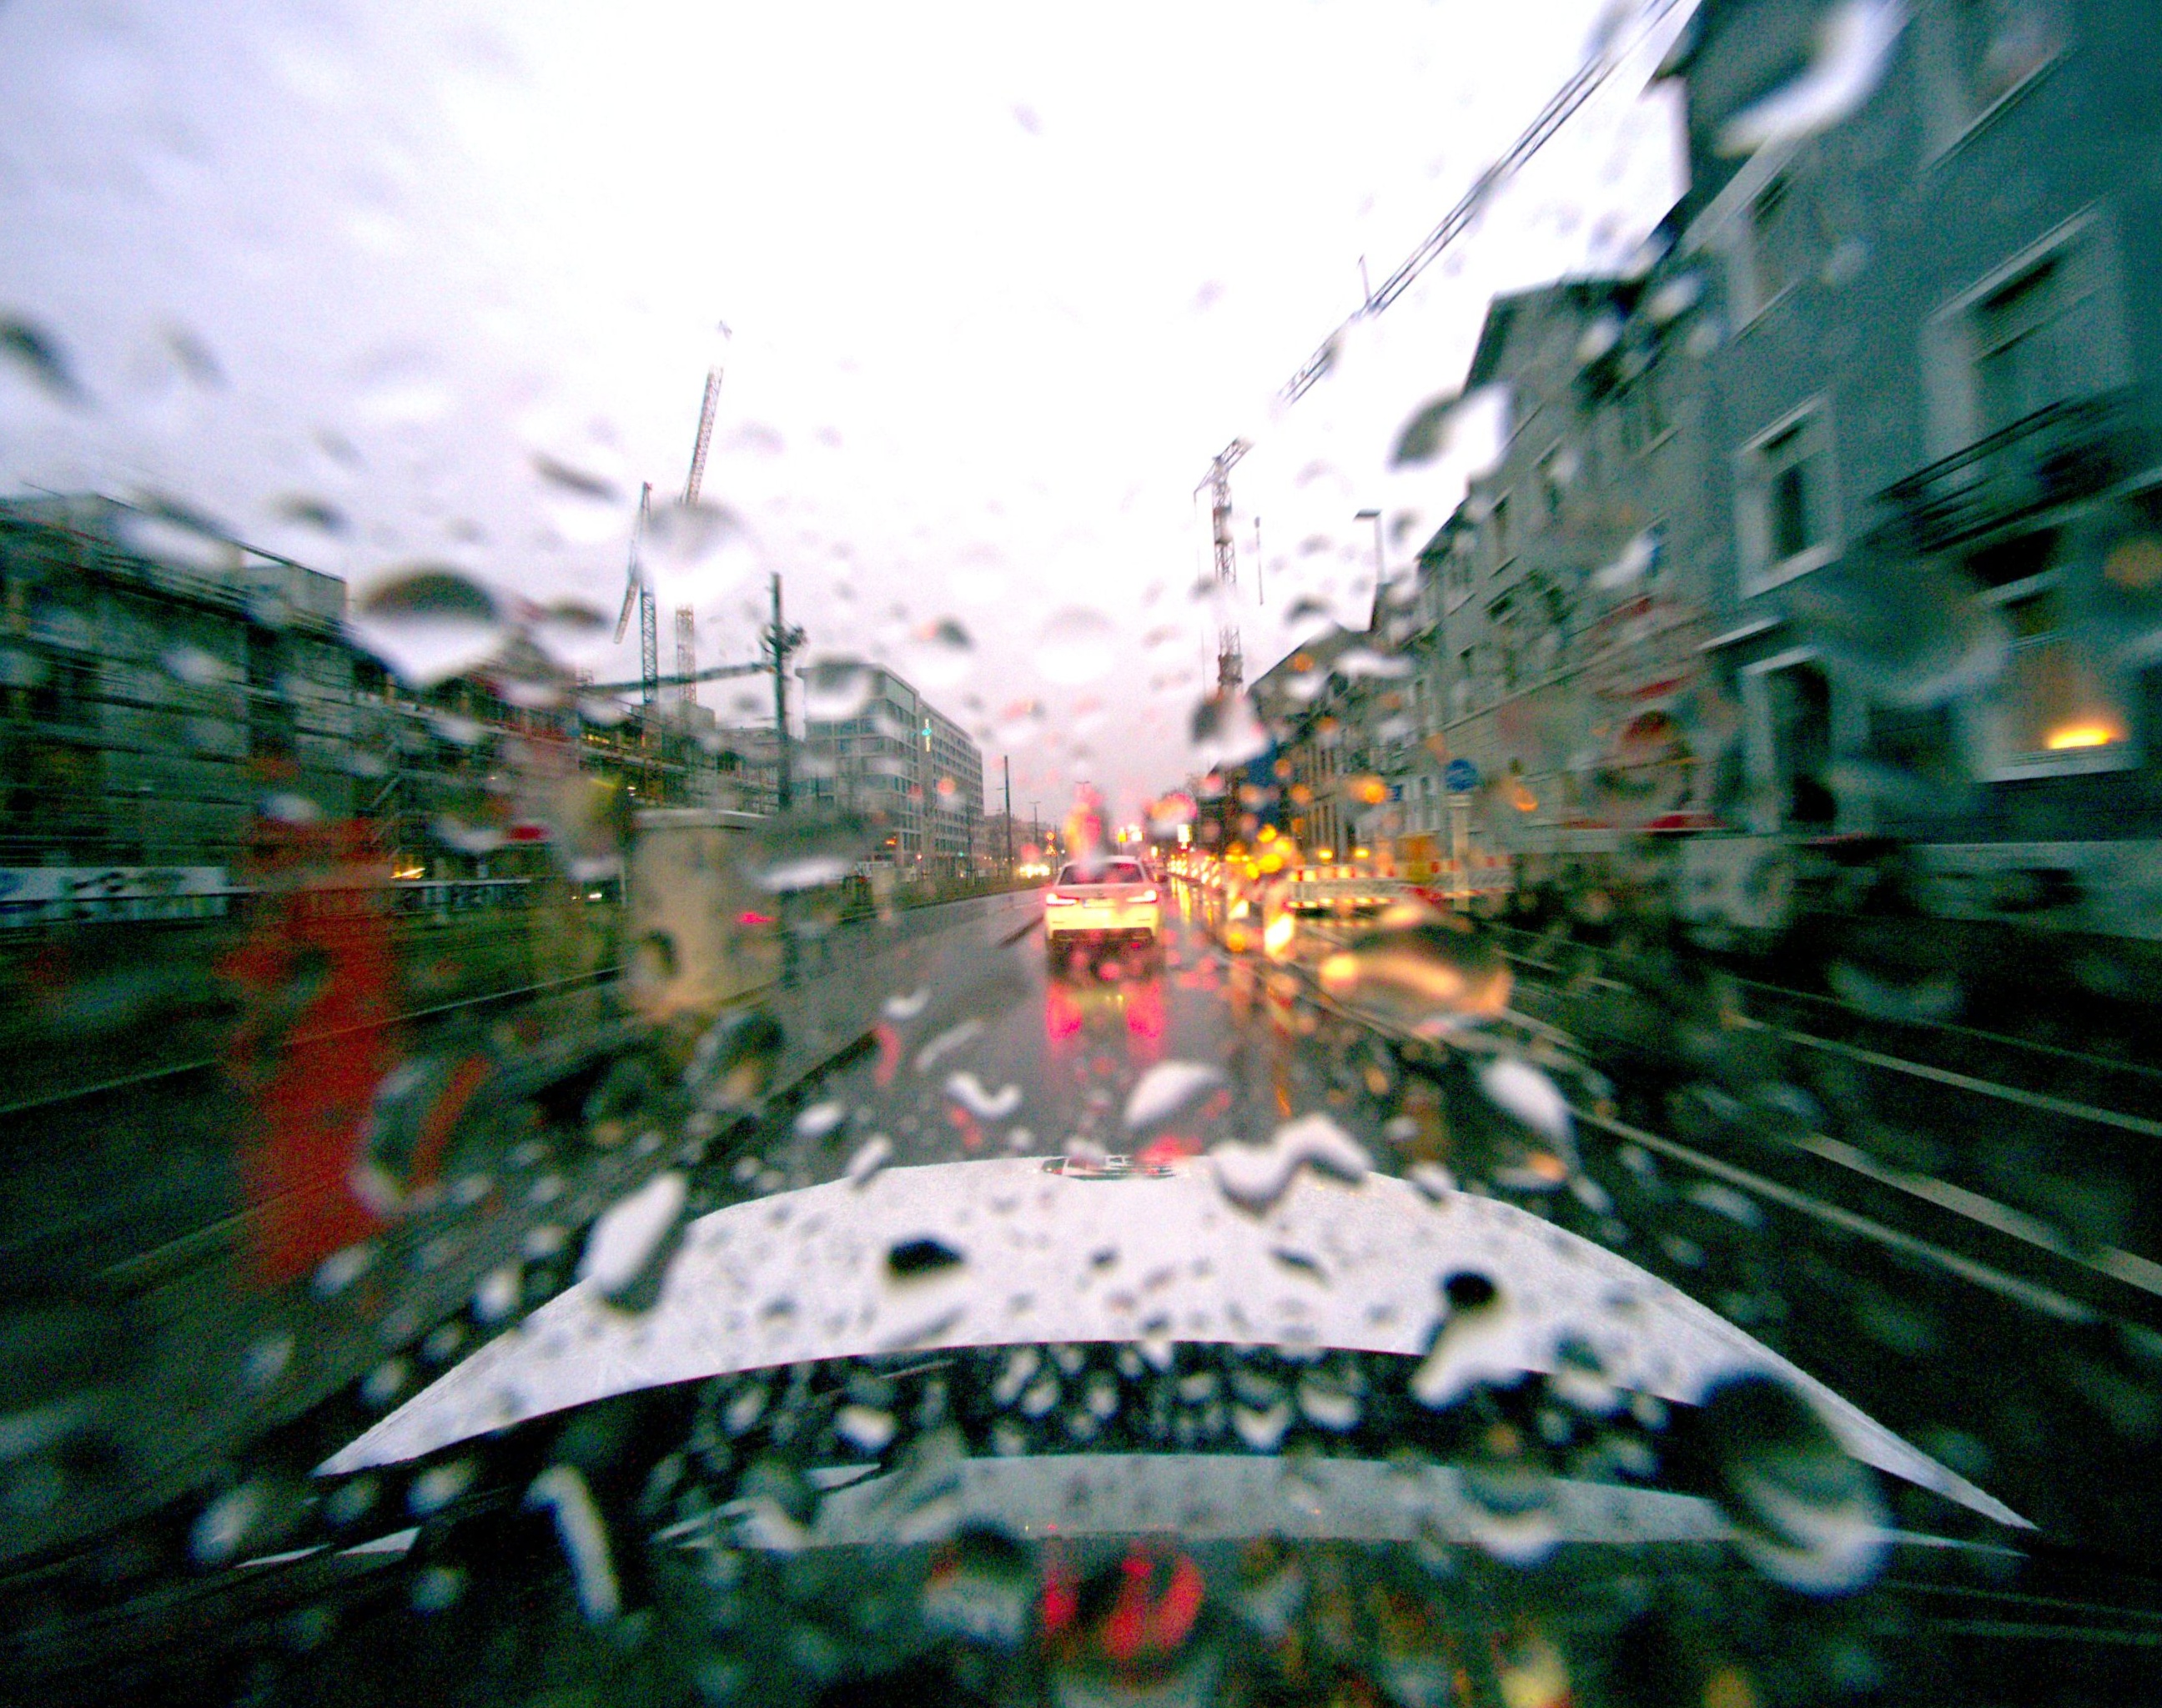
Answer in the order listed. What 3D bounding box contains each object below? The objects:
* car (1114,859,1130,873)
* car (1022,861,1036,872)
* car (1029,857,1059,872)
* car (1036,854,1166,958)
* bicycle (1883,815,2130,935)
[{"bbox_3d":[5.020,1.449,99.036,1.892,1.642,4.004,-1,-1,4],"label":"car"},{"bbox_3d":[-9.562,2.273,150.795,1.985,2.014,4.542,-2,-1,4],"label":"car"},{"bbox_3d":[-5.323,1.470,116.811,3.994,1.975,1.990,-1,-1,-15],"label":"car"},{"bbox_3d":[0.436,0.781,14.329,1.844,1.465,4.951,-1,-1,3],"label":"car"},{"bbox_3d":[10.752,0.238,9.591,0.680,1.222,1.907,-5,-1,3],"label":"bicycle"}]
